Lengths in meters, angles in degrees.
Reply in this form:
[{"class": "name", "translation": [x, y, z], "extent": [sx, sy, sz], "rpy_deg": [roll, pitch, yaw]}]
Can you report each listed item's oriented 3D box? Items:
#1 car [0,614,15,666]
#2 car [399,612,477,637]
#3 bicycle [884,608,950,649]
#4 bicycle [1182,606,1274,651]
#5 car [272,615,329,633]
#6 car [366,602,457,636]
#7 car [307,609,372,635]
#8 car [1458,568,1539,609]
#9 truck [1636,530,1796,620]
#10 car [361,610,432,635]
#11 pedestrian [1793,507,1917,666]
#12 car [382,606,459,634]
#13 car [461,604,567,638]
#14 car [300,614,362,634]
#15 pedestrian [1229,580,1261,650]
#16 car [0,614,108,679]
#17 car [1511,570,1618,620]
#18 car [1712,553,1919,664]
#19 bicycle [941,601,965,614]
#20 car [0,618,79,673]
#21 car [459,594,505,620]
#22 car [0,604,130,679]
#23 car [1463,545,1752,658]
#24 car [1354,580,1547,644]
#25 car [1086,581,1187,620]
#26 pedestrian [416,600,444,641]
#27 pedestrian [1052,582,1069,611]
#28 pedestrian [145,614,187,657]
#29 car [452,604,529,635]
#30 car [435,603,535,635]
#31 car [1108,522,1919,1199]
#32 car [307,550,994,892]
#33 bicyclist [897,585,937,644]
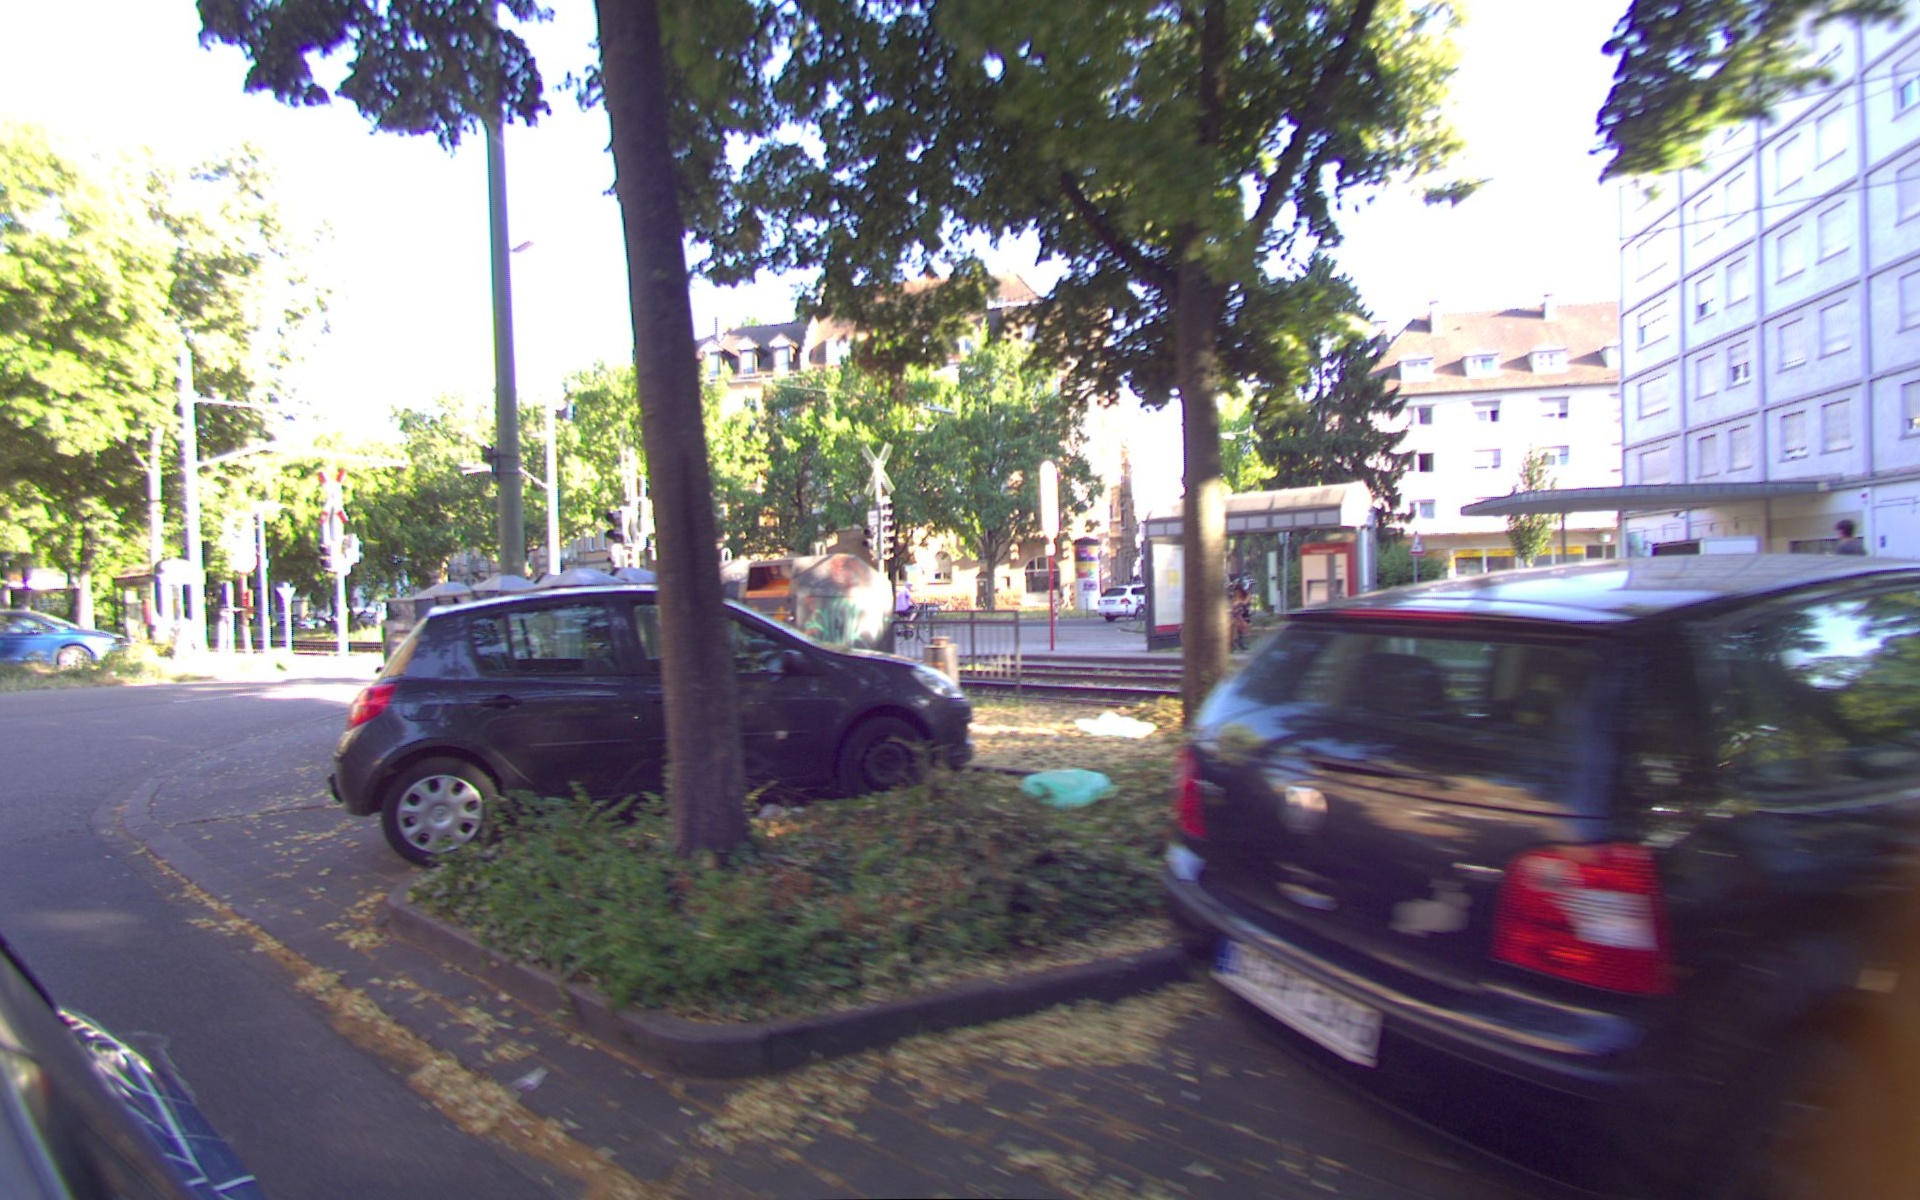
[{"class": "car", "translation": [-34.198, 1.386, 33.079], "extent": [4.476, 1.735, 1.935], "rpy_deg": [-1, 0, -14]}, {"class": "car", "translation": [-32.019, 1.469, 62.119], "extent": [3.941, 1.434, 1.685], "rpy_deg": [-1, -1, -44]}, {"class": "bicycle", "translation": [-1.174, 0.777, 28.158], "extent": [0.699, 1.062, 2.098], "rpy_deg": [-2, 0, 35]}, {"class": "bicycle", "translation": [5.003, 0.529, 18.984], "extent": [1.643, 0.789, 0.444], "rpy_deg": [-1, 0, 44]}, {"class": "car", "translation": [-58.097, 2.119, 89.141], "extent": [3.941, 1.500, 1.685], "rpy_deg": [-1, -1, -44]}, {"class": "car", "translation": [-35.531, 1.221, 65.627], "extent": [4.788, 2.053, 2.156], "rpy_deg": [-1, -1, -44]}, {"class": "car", "translation": [-47.482, 1.659, 77.450], "extent": [3.941, 1.846, 1.685], "rpy_deg": [-1, -1, -44]}, {"class": "car", "translation": [21.999, -0.476, 41.503], "extent": [1.981, 1.544, 3.981], "rpy_deg": [-1, 0, 15]}, {"class": "truck", "translation": [23.554, -0.742, 31.814], "extent": [1.979, 2.554, 4.955], "rpy_deg": [-1, 0, 11]}, {"class": "car", "translation": [-38.379, 1.542, 68.969], "extent": [3.941, 1.565, 1.685], "rpy_deg": [-1, -1, -44]}, {"class": "pedestrian", "translation": [11.300, -0.163, 12.813], "extent": [0.830, 1.925, 0.847], "rpy_deg": [-1, 0, 15]}, {"class": "car", "translation": [-33.860, 1.240, 63.552], "extent": [1.766, 1.592, 3.943], "rpy_deg": [-2, -1, 43]}, {"class": "car", "translation": [-23.200, 1.042, 52.702], "extent": [4.644, 1.584, 2.002], "rpy_deg": [-2, 1, -43]}, {"class": "car", "translation": [-50.870, 1.948, 81.896], "extent": [3.941, 1.500, 1.685], "rpy_deg": [-1, -1, -44]}, {"class": "pedestrian", "translation": [5.386, 0.279, 19.133], "extent": [0.452, 1.311, 0.333], "rpy_deg": [-2, 0, 43]}, {"class": "car", "translation": [-25.682, 1.240, 26.725], "extent": [4.473, 1.647, 1.936], "rpy_deg": [-1, -1, -23]}, {"class": "car", "translation": [20.259, -0.178, 34.096], "extent": [1.981, 1.544, 3.981], "rpy_deg": [-1, 0, 15]}, {"class": "car", "translation": [13.361, 0.204, 14.855], "extent": [4.133, 1.448, 1.706], "rpy_deg": [2, -3, -19]}, {"class": "bicycle", "translation": [-0.428, 0.469, 65.399], "extent": [1.493, 0.737, 0.367], "rpy_deg": [-3, 0, 10]}, {"class": "car", "translation": [-27.906, 1.302, 28.363], "extent": [4.473, 1.498, 1.936], "rpy_deg": [-1, -1, -23]}, {"class": "car", "translation": [-38.976, 0.608, 82.451], "extent": [1.885, 1.896, 4.728], "rpy_deg": [-5, 2, -45]}, {"class": "car", "translation": [-23.461, 1.058, 24.907], "extent": [4.343, 1.700, 1.748], "rpy_deg": [-3, 1, -26]}, {"class": "car", "translation": [10.805, 0.073, 16.963], "extent": [4.170, 1.665, 1.612], "rpy_deg": [2, -2, -13]}, {"class": "car", "translation": [12.061, 0.311, 25.013], "extent": [3.998, 1.457, 1.693], "rpy_deg": [-2, -1, 41]}, {"class": "car", "translation": [7.399, 0.017, 42.281], "extent": [4.230, 1.461, 1.926], "rpy_deg": [-2, -1, -42]}, {"class": "pedestrian", "translation": [-26.116, 1.010, 49.867], "extent": [0.892, 1.933, 1.151], "rpy_deg": [-2, 0, -44]}, {"class": "pedestrian", "translation": [6.037, -0.207, 60.789], "extent": [0.903, 1.731, 0.672], "rpy_deg": [0, -1, 15]}, {"class": "pedestrian", "translation": [-24.616, 1.094, 31.382], "extent": [0.875, 1.282, 0.814], "rpy_deg": [-1, 0, 38]}, {"class": "car", "translation": [-25.192, 1.043, 54.339], "extent": [3.358, 1.526, 1.721], "rpy_deg": [-2, 0, -43]}, {"class": "car", "translation": [-26.534, 1.020, 56.628], "extent": [4.644, 1.584, 2.002], "rpy_deg": [-2, 1, -43]}, {"class": "car", "translation": [2.426, 0.545, 2.856], "extent": [3.557, 1.458, 1.613], "rpy_deg": [-4, 1, -21]}, {"class": "car", "translation": [-1.831, 0.586, 6.537], "extent": [3.672, 1.531, 1.613], "rpy_deg": [-4, 1, -21]}, {"class": "bicyclist", "translation": [-1.192, 0.390, 28.160], "extent": [0.699, 1.600, 0.864], "rpy_deg": [-2, 0, 36]}]
